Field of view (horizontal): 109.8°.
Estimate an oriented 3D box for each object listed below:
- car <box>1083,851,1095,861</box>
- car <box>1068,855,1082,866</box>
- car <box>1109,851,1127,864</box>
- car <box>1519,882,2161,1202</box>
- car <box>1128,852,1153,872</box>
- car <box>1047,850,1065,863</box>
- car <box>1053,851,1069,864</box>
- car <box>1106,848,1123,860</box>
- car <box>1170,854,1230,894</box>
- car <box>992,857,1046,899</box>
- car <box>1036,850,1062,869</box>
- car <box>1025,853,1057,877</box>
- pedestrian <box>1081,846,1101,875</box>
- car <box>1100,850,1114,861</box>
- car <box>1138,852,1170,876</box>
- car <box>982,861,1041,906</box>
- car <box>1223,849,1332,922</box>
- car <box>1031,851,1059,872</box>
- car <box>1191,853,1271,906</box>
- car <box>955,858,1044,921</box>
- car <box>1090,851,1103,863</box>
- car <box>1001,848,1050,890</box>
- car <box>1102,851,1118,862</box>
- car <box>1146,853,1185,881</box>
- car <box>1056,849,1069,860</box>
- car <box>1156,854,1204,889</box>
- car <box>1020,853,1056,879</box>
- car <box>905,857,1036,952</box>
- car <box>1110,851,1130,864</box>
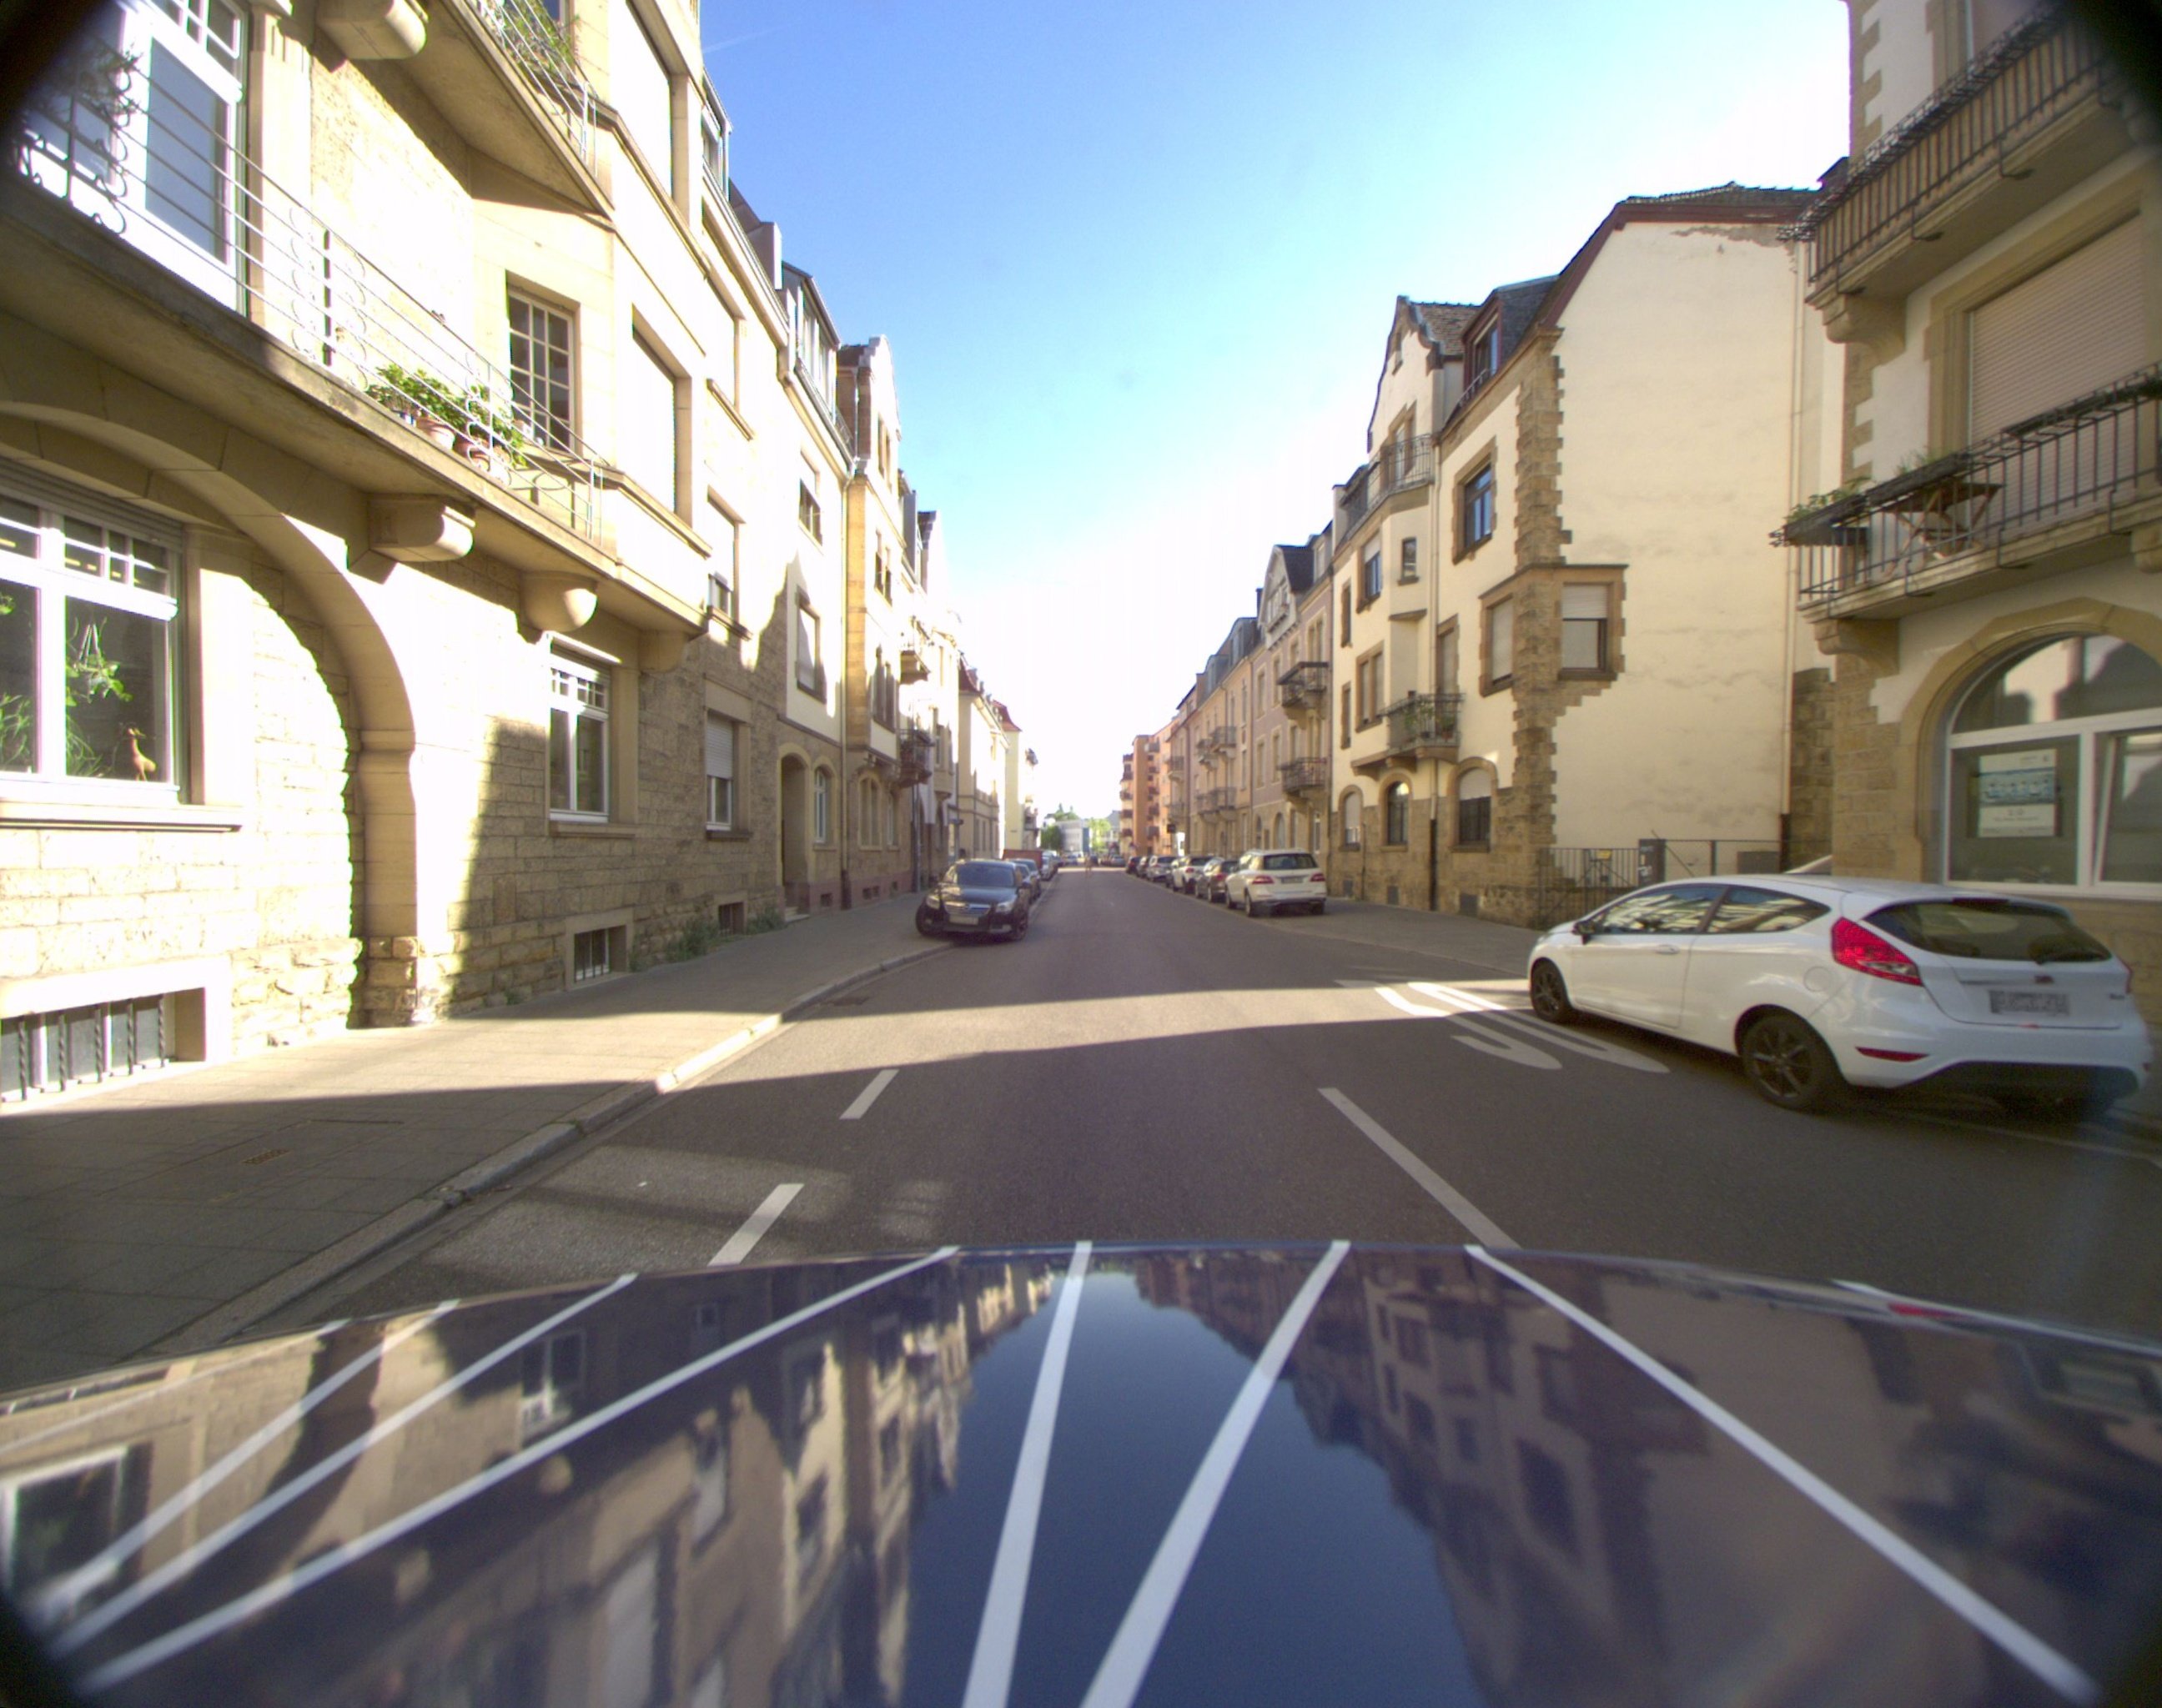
[{"bbox_3d":[1.220,0.294,116.619,1.656,1.449,3.642,0,1,-1],"label":"car"},{"bbox_3d":[-0.863,0.871,108.305,2.005,1.500,4.320,1,1,-1],"label":"car"},{"bbox_3d":[4.618,0.404,96.192,2.005,1.500,4.320,1,1,-1],"label":"car"},{"bbox_3d":[5.109,1.017,5.644,1.656,1.449,3.643,2,0,2],"label":"car"},{"bbox_3d":[4.890,0.649,62.959,1.793,1.500,4.320,-2,1,1],"label":"car"},{"bbox_3d":[-2.848,0.278,88.964,2.005,1.500,4.320,1,1,-1],"label":"car"},{"bbox_3d":[-2.587,0.444,99.938,2.005,1.500,4.320,1,1,-1],"label":"car"},{"bbox_3d":[4.513,0.015,101.943,2.005,1.500,4.320,1,1,-1],"label":"car"},{"bbox_3d":[4.982,0.800,32.351,1.890,1.500,4.320,-2,1,1],"label":"car"},{"bbox_3d":[-2.387,0.896,30.106,1.824,1.415,4.320,1,1,-1],"label":"car"},{"bbox_3d":[-2.675,0.461,64.484,2.005,1.500,4.320,1,1,-1],"label":"car"},{"bbox_3d":[-2.751,0.745,52.626,2.005,1.500,4.320,1,1,-1],"label":"car"},{"bbox_3d":[0.692,0.439,53.074,0.951,2.002,1.068,-2,1,24],"label":"pedestrian"},{"bbox_3d":[3.954,0.201,116.745,2.005,1.500,4.320,1,1,-1],"label":"car"},{"bbox_3d":[4.989,0.676,52.336,1.809,1.500,4.003,-2,1,1],"label":"car"},{"bbox_3d":[-2.236,0.931,25.363,1.661,1.272,3.729,1,1,-1],"label":"car"},{"bbox_3d":[5.193,0.756,20.692,1.890,1.717,4.211,-2,1,1],"label":"car"},{"bbox_3d":[-2.748,0.544,58.651,2.005,1.500,4.320,1,1,-1],"label":"car"},{"bbox_3d":[5.121,0.825,26.531,1.890,1.500,4.320,-4,1,1],"label":"car"},{"bbox_3d":[-2.099,0.878,20.785,2.005,1.499,4.321,1,0,-1],"label":"car"},{"bbox_3d":[2.002,0.363,100.500,1.656,1.449,3.642,0,1,-1],"label":"car"},{"bbox_3d":[-2.562,0.656,35.795,2.005,1.828,4.320,1,1,-1],"label":"car"},{"bbox_3d":[4.107,0.301,107.237,2.005,1.500,4.320,1,1,-1],"label":"car"},{"bbox_3d":[5.018,0.740,45.818,1.890,1.500,4.320,-2,1,1],"label":"car"},{"bbox_3d":[-2.946,0.084,123.321,2.005,1.722,4.320,1,1,-1],"label":"car"},{"bbox_3d":[4.853,0.823,37.792,1.857,1.491,4.318,-2,1,1],"label":"car"},{"bbox_3d":[-2.655,0.725,47.853,2.005,1.500,4.320,1,1,-1],"label":"car"},{"bbox_3d":[-2.039,0.885,15.230,2.024,1.500,4.111,2,1,-1],"label":"car"},{"bbox_3d":[4.669,0.420,91.377,2.005,1.500,4.320,1,1,-1],"label":"car"}]
